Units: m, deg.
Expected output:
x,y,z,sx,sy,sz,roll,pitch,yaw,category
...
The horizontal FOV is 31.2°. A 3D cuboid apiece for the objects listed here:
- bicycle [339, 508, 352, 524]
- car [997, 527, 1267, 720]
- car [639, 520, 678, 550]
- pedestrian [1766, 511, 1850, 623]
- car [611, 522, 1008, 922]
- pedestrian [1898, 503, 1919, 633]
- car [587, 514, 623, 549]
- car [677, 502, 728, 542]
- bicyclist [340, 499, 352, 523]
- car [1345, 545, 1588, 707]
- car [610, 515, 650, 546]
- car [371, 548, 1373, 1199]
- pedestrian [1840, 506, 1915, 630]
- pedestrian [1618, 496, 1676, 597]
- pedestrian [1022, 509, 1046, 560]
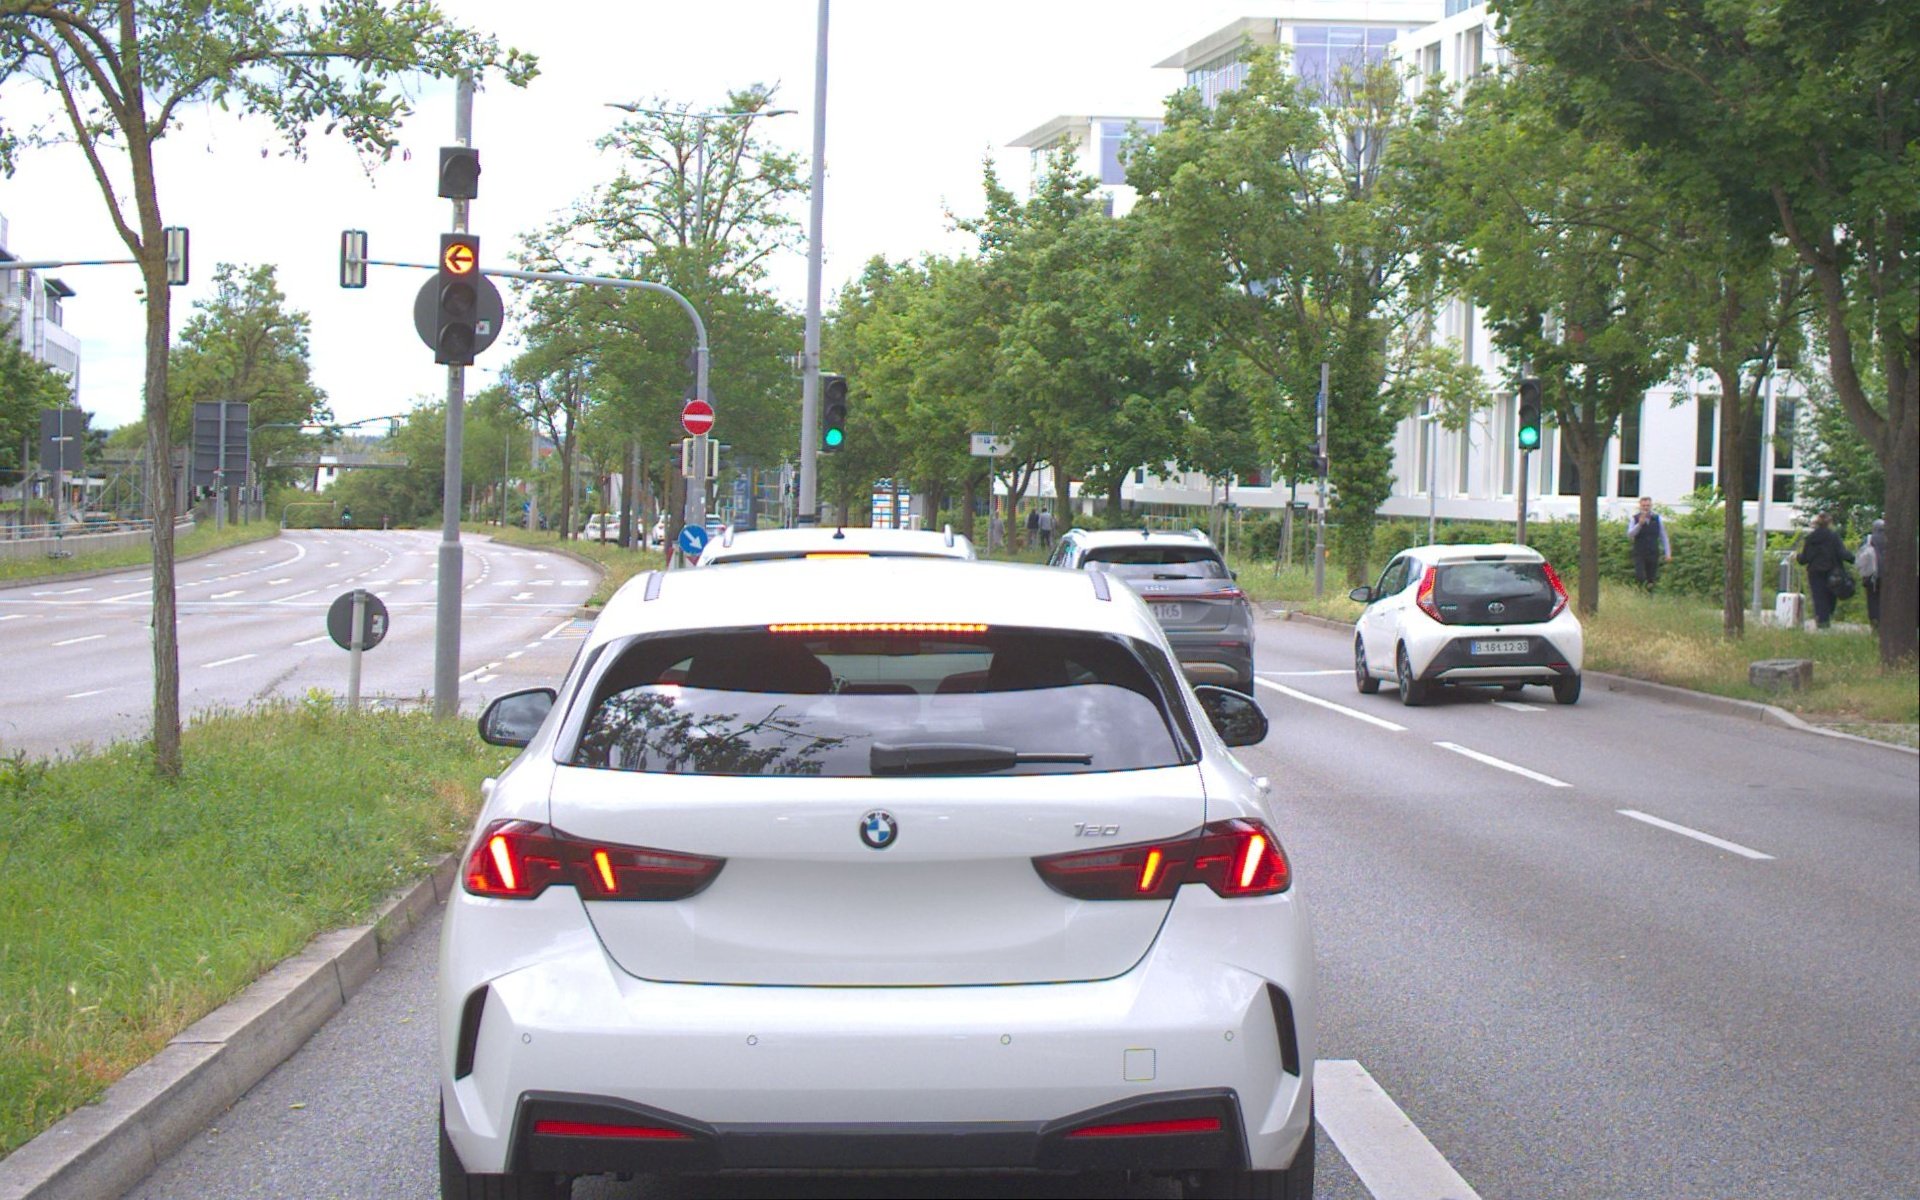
x,y,z,sx,sy,sz,roll,pitch,yaw,category
-43.605,-5.960,244.134,0.810,1.100,2.557,1,1,-8,bicycle
1.478,0.159,31.172,1.891,1.590,4.314,1,1,-4,car
-15.230,-3.272,173.481,1.692,1.481,3.694,1,1,-9,car
11.140,-0.436,45.192,0.789,1.443,1.112,1,0,-1,pedestrian
-0.624,0.451,15.726,1.549,1.563,4.000,1,1,-1,car
12.750,-0.410,44.780,0.767,1.679,0.883,1,0,-1,pedestrian
-17.711,-3.409,171.297,1.695,1.711,4.001,1,1,-7,car
-11.046,-3.327,147.288,1.993,1.664,4.001,-1,1,-7,car
-43.606,-6.327,244.193,0.810,1.647,1.189,1,0,-8,bicyclist
4.696,0.208,32.282,1.653,1.420,3.535,0,1,-2,car
-18.970,-4.004,197.678,1.993,1.726,4.001,1,1,-10,car
-0.188,0.619,8.339,1.822,1.433,4.000,1,1,-1,car
11.946,-0.421,44.780,0.699,1.590,0.883,1,0,-1,pedestrian
10.779,-0.835,53.953,0.741,1.568,0.674,1,0,-1,pedestrian
2.916,-2.590,135.551,0.762,2.007,0.754,1,0,-15,pedestrian
